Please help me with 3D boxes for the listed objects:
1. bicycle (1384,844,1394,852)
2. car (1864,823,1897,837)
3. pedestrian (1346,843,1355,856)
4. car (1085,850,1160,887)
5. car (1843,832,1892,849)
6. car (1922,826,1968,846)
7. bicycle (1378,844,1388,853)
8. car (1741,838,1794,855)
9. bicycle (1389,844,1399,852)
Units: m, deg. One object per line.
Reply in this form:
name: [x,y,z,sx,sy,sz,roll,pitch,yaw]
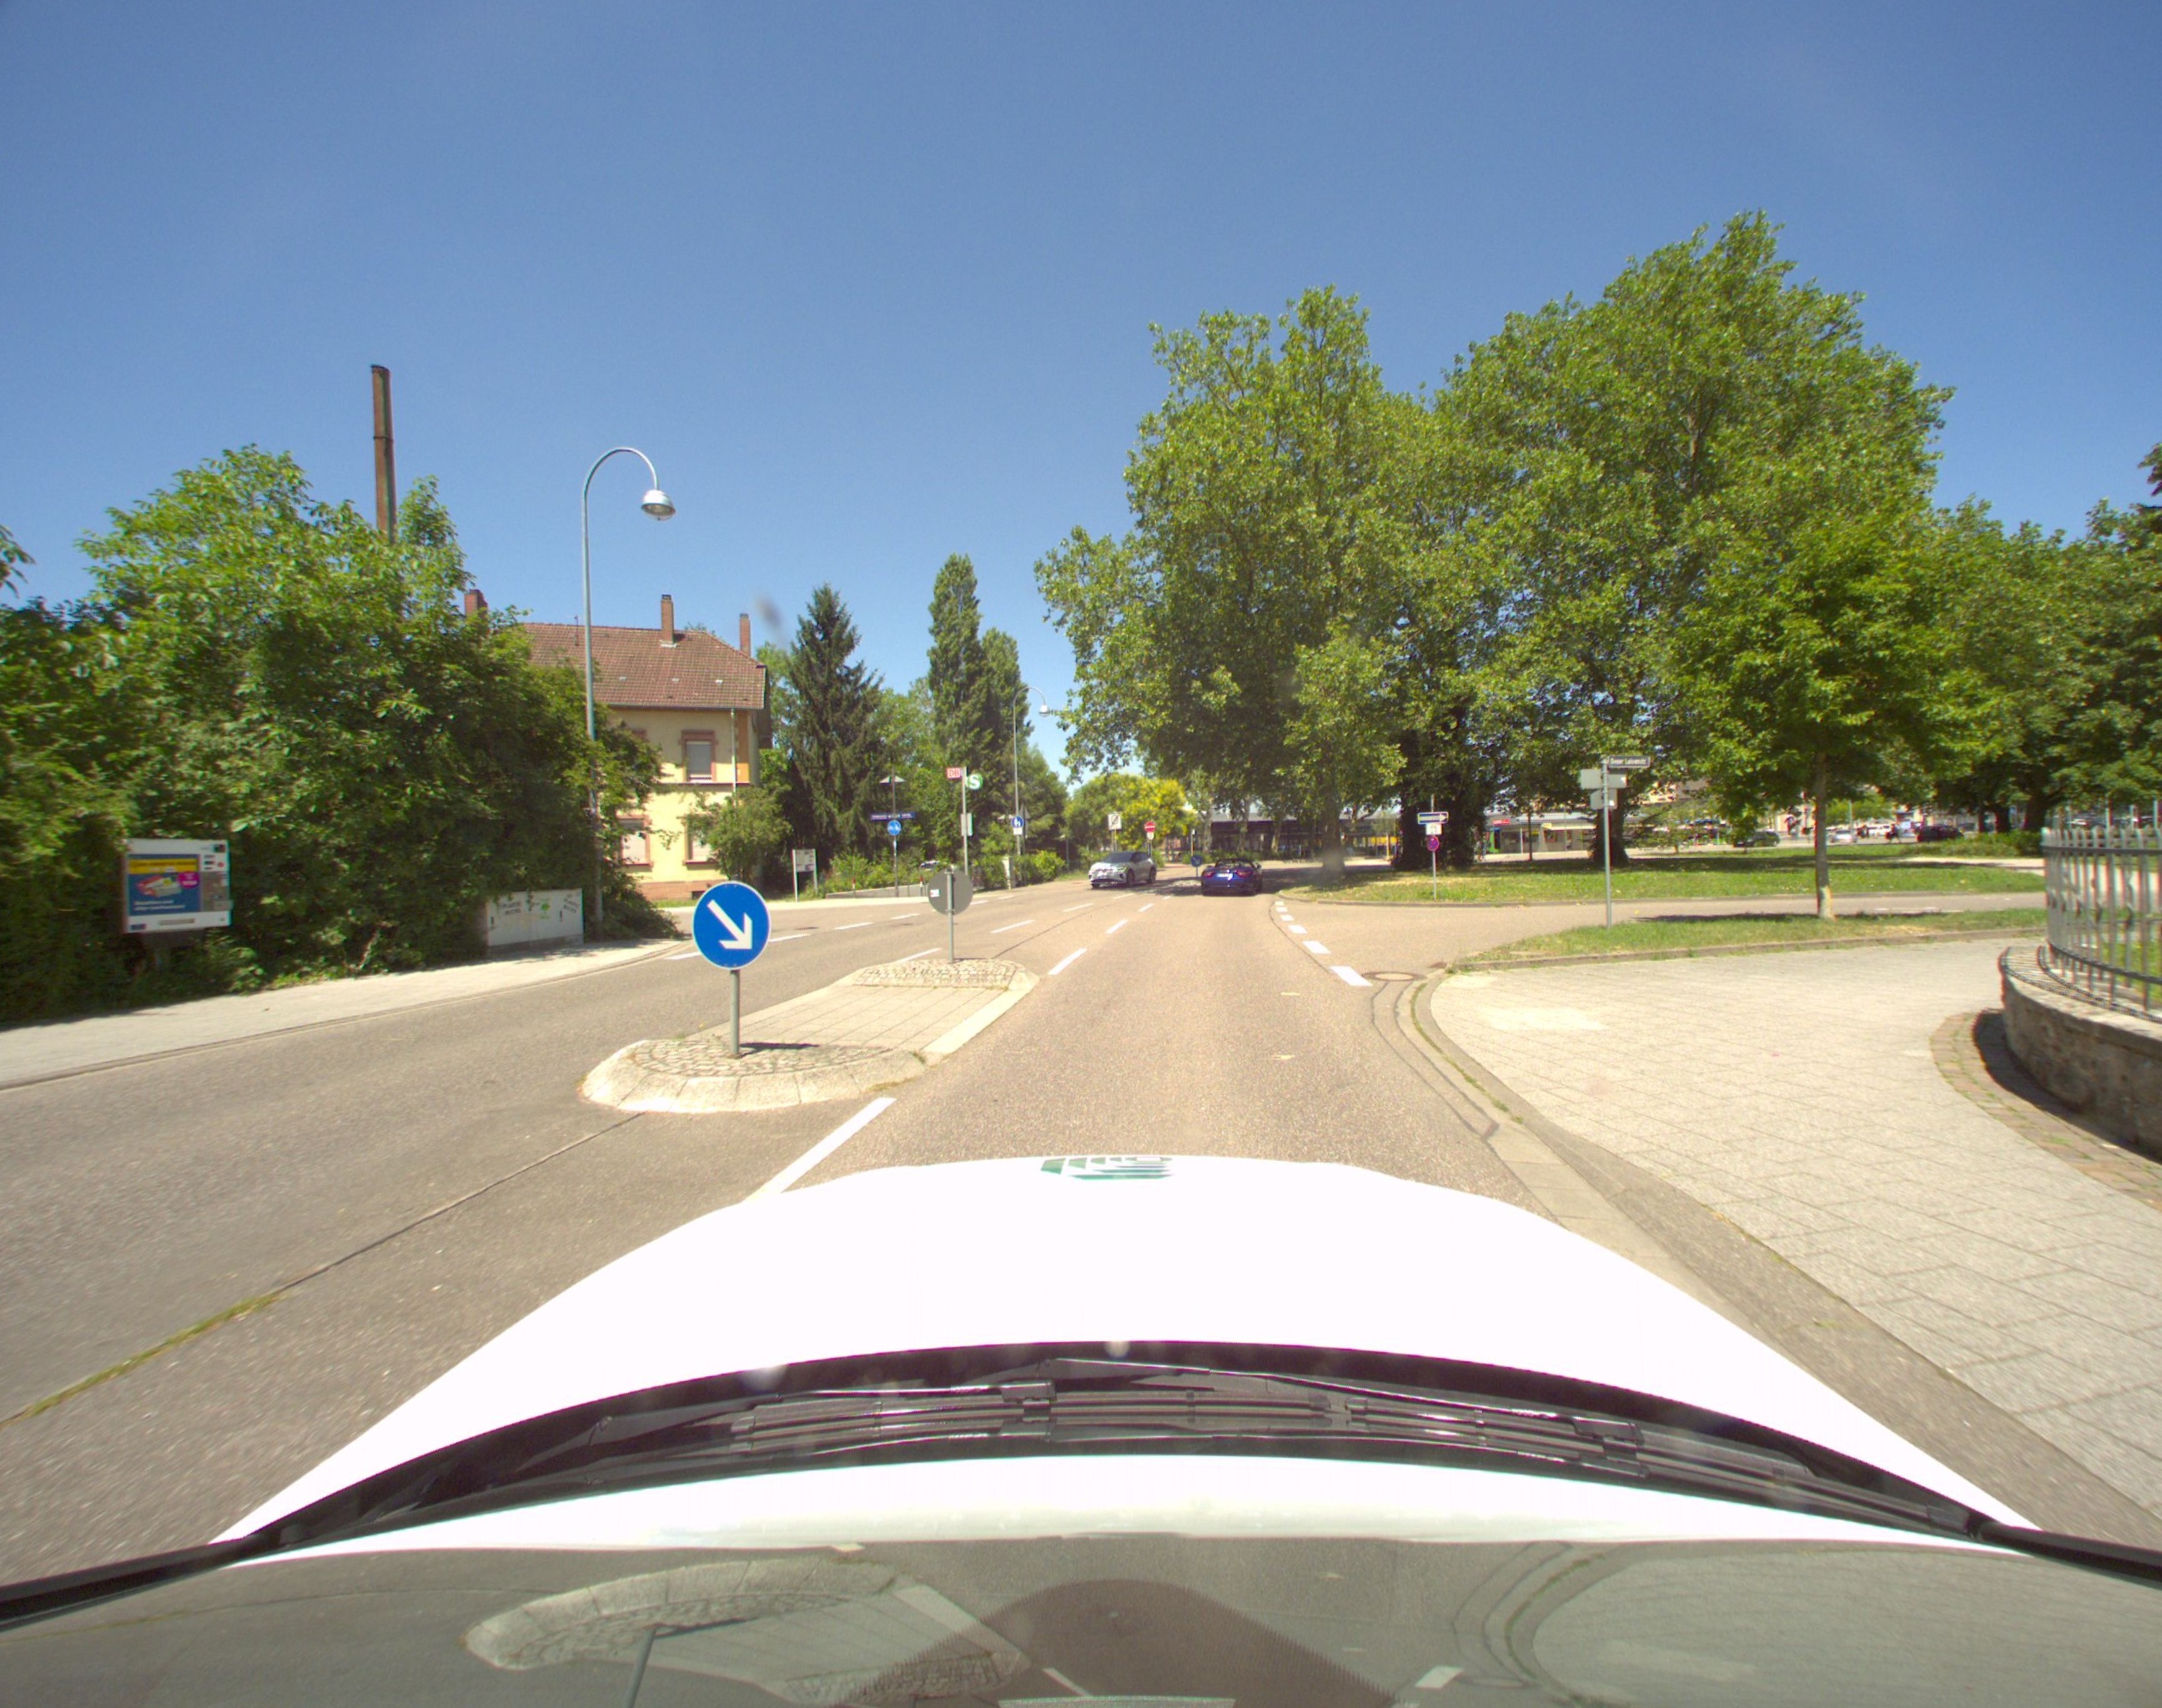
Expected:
bicycle: [39.933,-0.771,105.612,0.386,1.094,1.376,0,-1,-19]
car: [120.443,-3.631,122.683,4.776,1.917,1.745,-2,-1,-20]
pedestrian: [31.387,-0.479,94.779,0.823,1.463,0.602,-2,0,-23]
car: [1.983,0.625,37.585,1.827,1.530,4.365,-1,0,26]
car: [79.893,-1.395,82.708,4.158,1.444,1.808,-3,-3,-20]
car: [71.291,-1.485,67.205,3.716,1.478,1.708,-2,-1,-29]
bicycle: [39.682,-0.747,107.083,0.386,1.094,1.376,0,-1,-19]
car: [65.580,-0.719,77.785,4.788,1.478,1.712,-2,-1,-21]
bicycle: [40.806,-0.772,106.077,0.386,1.094,1.377,0,-1,-18]
